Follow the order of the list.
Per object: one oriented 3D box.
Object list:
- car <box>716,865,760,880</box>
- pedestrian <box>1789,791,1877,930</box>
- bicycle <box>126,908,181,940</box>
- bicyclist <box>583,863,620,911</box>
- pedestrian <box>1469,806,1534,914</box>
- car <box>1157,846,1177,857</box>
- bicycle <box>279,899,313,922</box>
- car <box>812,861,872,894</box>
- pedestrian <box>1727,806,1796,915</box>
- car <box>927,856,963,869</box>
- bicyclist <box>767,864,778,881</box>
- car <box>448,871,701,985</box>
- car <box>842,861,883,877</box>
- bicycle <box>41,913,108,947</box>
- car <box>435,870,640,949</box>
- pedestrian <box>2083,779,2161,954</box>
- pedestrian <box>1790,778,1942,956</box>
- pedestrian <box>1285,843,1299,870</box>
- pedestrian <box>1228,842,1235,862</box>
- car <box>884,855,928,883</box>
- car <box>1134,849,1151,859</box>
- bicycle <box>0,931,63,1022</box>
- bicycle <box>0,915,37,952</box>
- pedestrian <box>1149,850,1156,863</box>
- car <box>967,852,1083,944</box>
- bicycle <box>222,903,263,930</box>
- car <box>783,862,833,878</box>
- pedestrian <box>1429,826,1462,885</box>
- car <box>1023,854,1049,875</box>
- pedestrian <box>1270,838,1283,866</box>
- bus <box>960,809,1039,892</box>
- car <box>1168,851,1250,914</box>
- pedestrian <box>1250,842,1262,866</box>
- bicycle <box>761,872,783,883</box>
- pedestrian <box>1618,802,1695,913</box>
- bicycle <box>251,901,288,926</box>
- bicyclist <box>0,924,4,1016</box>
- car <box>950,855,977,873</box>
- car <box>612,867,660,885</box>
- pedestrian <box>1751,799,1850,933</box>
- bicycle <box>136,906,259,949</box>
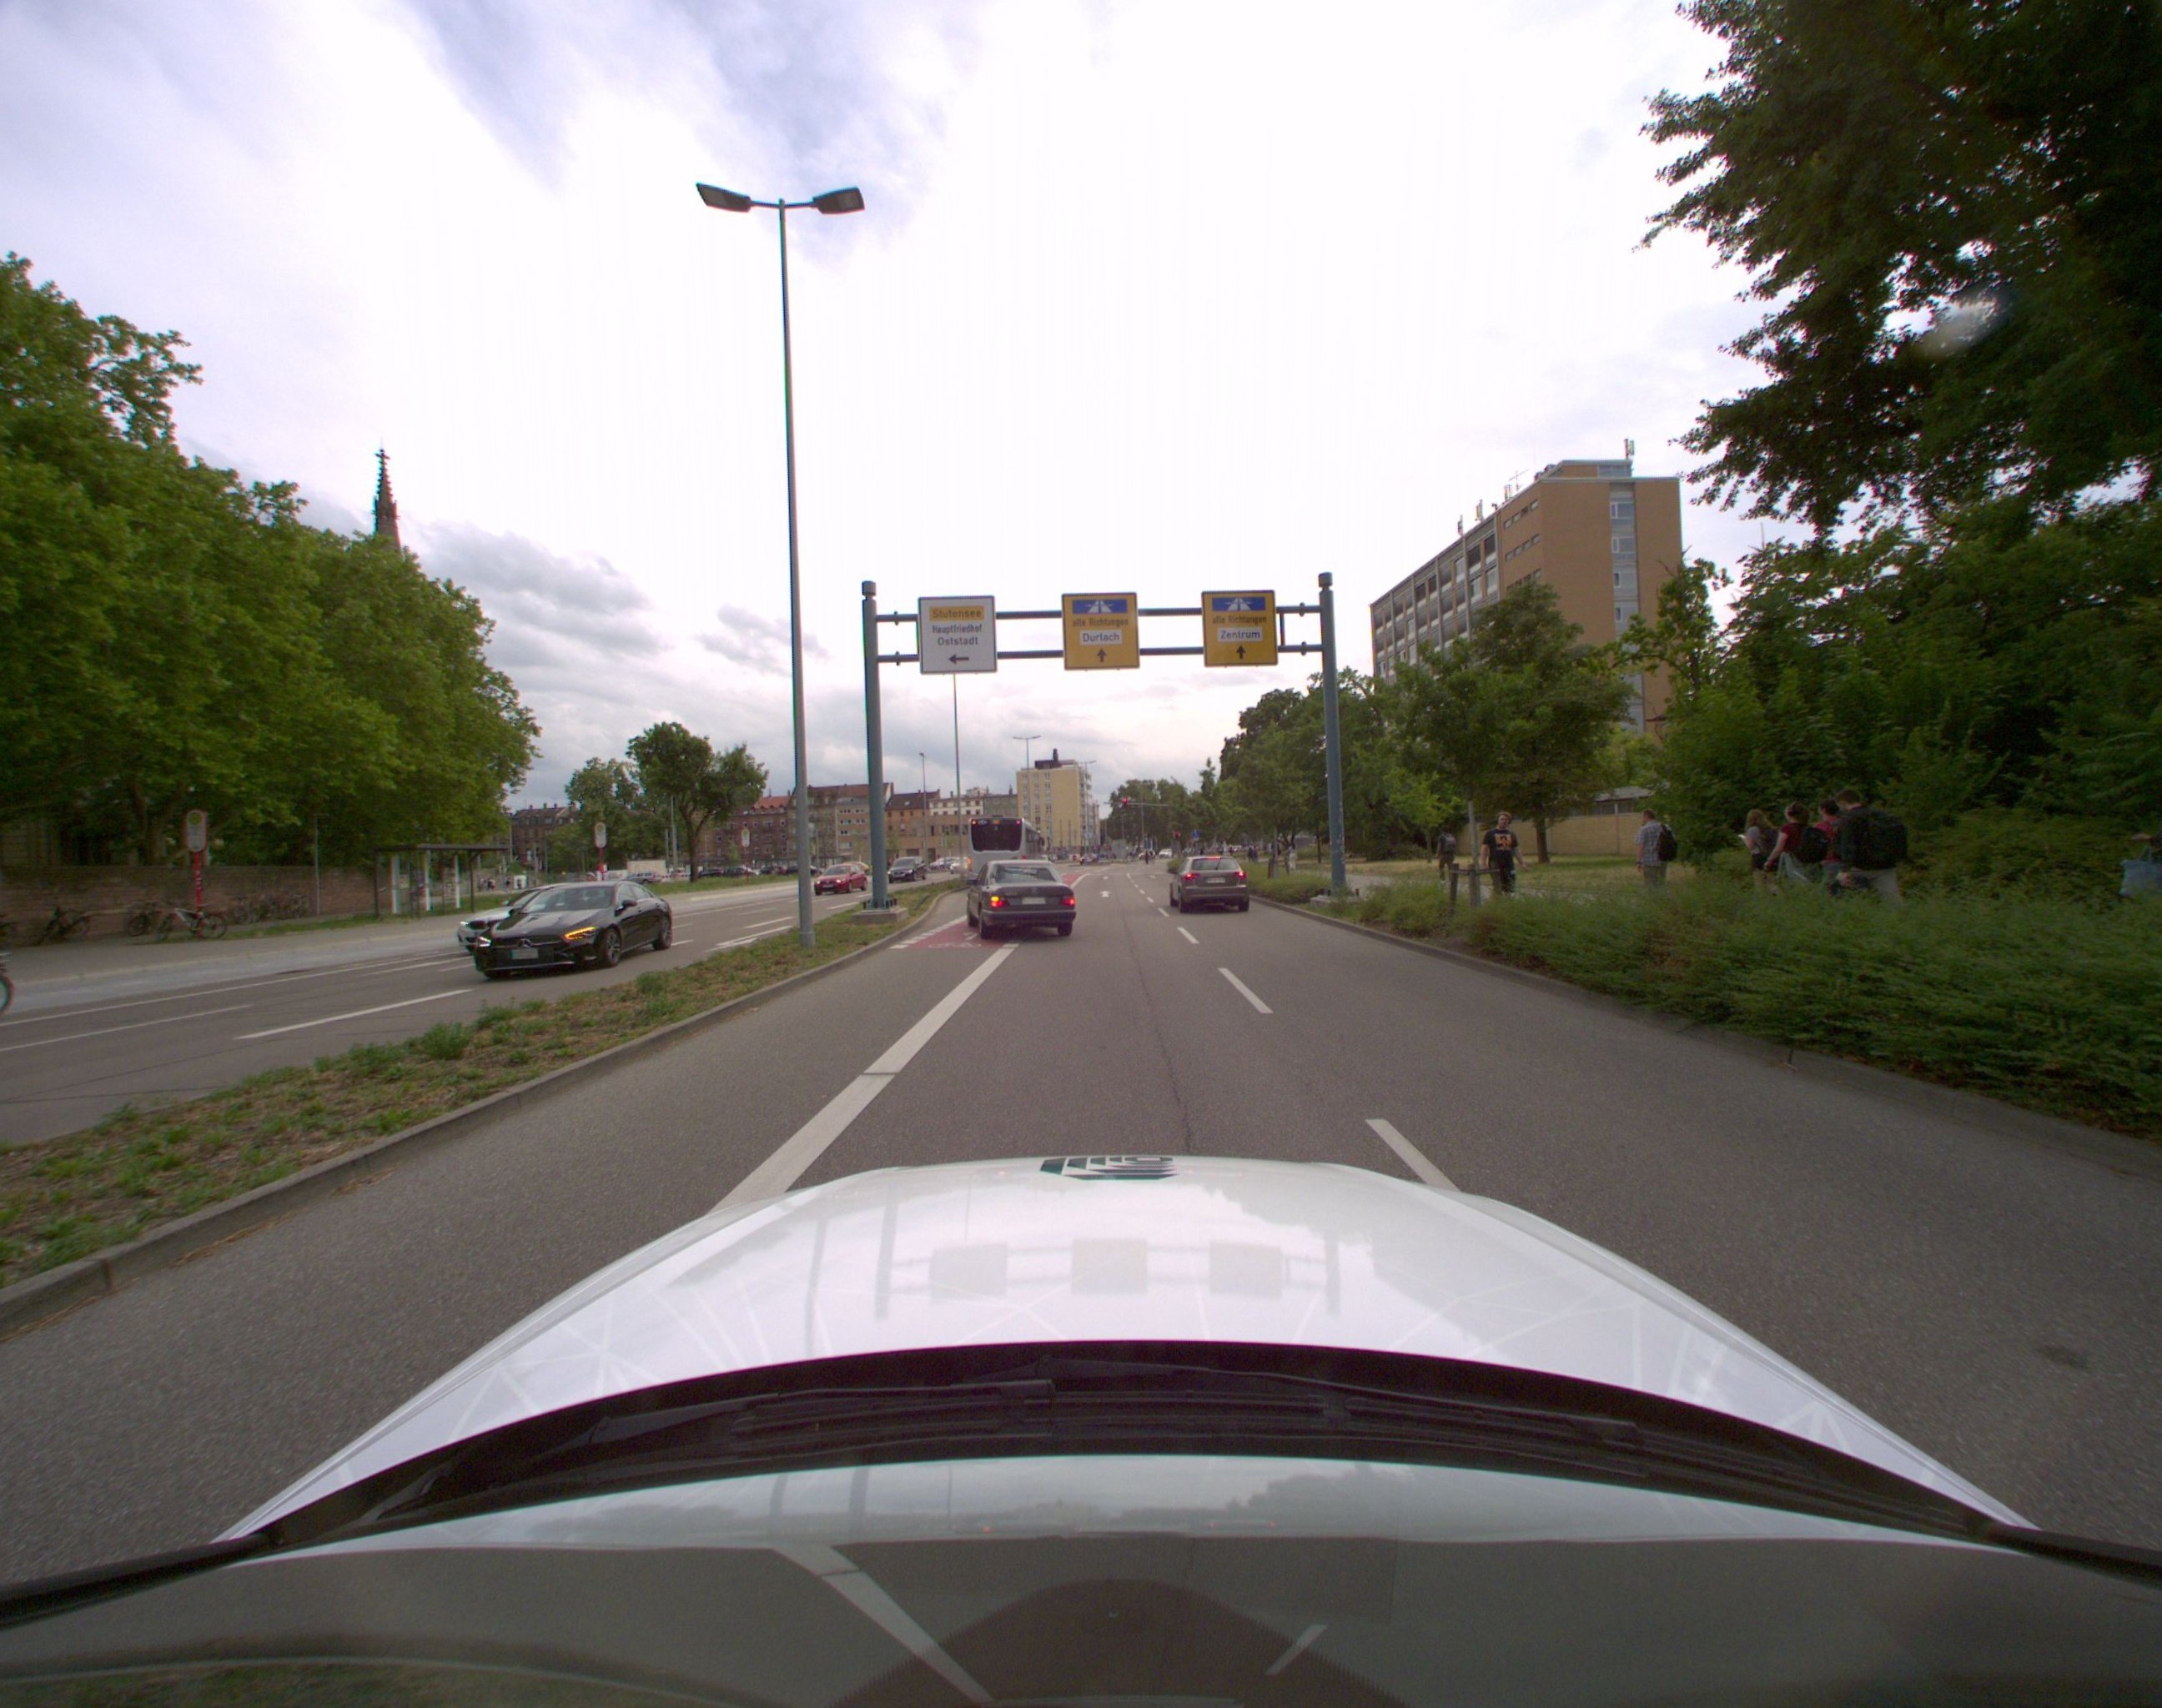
[{"bbox_3d":[-35.115,1.913,83.372,3.756,1.394,1.582,-1,0,-4],"label":"car"},{"bbox_3d":[9.921,0.079,10.770,0.482,1.763,0.664,-3,0,1],"label":"pedestrian"},{"bbox_3d":[-30.455,2.273,26.772,0.483,0.907,1.609,-3,0,-22],"label":"bicycle"},{"bbox_3d":[-14.916,1.008,25.335,0.578,1.419,0.811,-2,0,2],"label":"bicyclist"},{"bbox_3d":[7.420,0.103,14.363,0.925,1.830,0.892,-3,0,28],"label":"pedestrian"},{"bbox_3d":[17.253,-0.491,163.033,2.561,2.109,5.630,-2,0,21],"label":"car"},{"bbox_3d":[-33.753,2.431,35.040,0.483,0.907,1.608,0,-1,-23],"label":"bicycle"},{"bbox_3d":[-12.164,1.144,41.729,1.796,1.489,4.288,-2,0,0],"label":"car"},{"bbox_3d":[10.542,0.092,12.636,0.466,1.633,0.653,-3,0,1],"label":"pedestrian"},{"bbox_3d":[-15.410,0.962,92.222,3.699,1.394,1.568,-1,0,-34],"label":"car"},{"bbox_3d":[-30.650,1.795,80.892,0.785,1.643,0.571,-3,0,-4],"label":"bicyclist"},{"bbox_3d":[-8.519,1.143,14.257,1.798,1.489,4.400,-2,0,-3],"label":"car"},{"bbox_3d":[-22.611,1.572,84.318,3.849,1.517,1.658,-1,0,-4],"label":"car"},{"bbox_3d":[-29.270,2.196,23.710,0.442,0.878,1.610,0,-1,-20],"label":"bicycle"},{"bbox_3d":[-12.785,1.220,19.565,1.795,1.489,4.418,-2,0,2],"label":"car"},{"bbox_3d":[10.040,0.098,7.487,0.633,1.583,0.785,-3,0,1],"label":"pedestrian"},{"bbox_3d":[8.585,0.132,8.954,0.690,1.821,0.954,-3,0,1],"label":"pedestrian"},{"bbox_3d":[11.719,0.113,45.238,0.652,1.470,0.564,-3,0,18],"label":"pedestrian"},{"bbox_3d":[15.500,-0.222,83.848,0.612,2.013,0.597,-2,0,0],"label":"pedestrian"},{"bbox_3d":[-11.624,0.978,54.315,1.795,1.665,4.301,-4,0,1],"label":"car"},{"bbox_3d":[10.738,-0.010,142.165,1.978,1.703,4.018,-2,0,17],"label":"car"},{"bbox_3d":[-15.620,1.774,11.158,0.615,1.217,2.048,-2,0,6],"label":"bicycle"},{"bbox_3d":[-28.496,2.109,21.443,0.442,0.878,1.610,0,-1,-20],"label":"bicycle"},{"bbox_3d":[8.852,0.335,100.560,0.559,1.592,0.625,-1,-2,-38],"label":"pedestrian"},{"bbox_3d":[-1.243,0.754,16.062,1.762,1.489,4.155,-2,0,-11],"label":"car"},{"bbox_3d":[-32.102,2.382,31.209,0.483,0.907,1.608,0,-1,-23],"label":"bicycle"},{"bbox_3d":[-28.096,1.665,83.898,4.660,1.475,1.658,-1,0,-4],"label":"car"},{"bbox_3d":[10.851,0.045,24.278,0.585,1.682,0.748,-3,0,1],"label":"pedestrian"},{"bbox_3d":[-3.123,0.706,57.338,1.650,1.396,3.858,-2,0,-1],"label":"car"},{"bbox_3d":[12.199,-0.121,50.778,0.641,1.713,0.564,-3,0,16],"label":"pedestrian"},{"bbox_3d":[-3.654,-0.170,38.500,2.823,3.390,8.180,-2,0,-1],"label":"bus"},{"bbox_3d":[3.336,0.693,21.781,1.717,1.457,3.738,-2,0,3],"label":"car"},{"bbox_3d":[12.951,-0.013,60.208,0.796,1.713,0.768,-3,0,14],"label":"pedestrian"},{"bbox_3d":[-30.677,2.362,80.872,1.960,0.982,0.630,-3,0,-4],"label":"bicycle"},{"bbox_3d":[9.439,0.057,13.383,0.617,1.735,0.815,-3,0,1],"label":"pedestrian"},{"bbox_3d":[-33.044,2.409,33.176,0.483,0.907,1.608,0,-1,-23],"label":"bicycle"},{"bbox_3d":[-15.620,1.413,11.140,0.615,1.782,0.812,-2,0,6],"label":"bicyclist"},{"bbox_3d":[-10.239,0.846,71.280,1.664,1.389,3.924,-3,0,2],"label":"car"},{"bbox_3d":[-48.031,2.383,87.973,4.147,1.649,1.644,-3,0,-5],"label":"car"},{"bbox_3d":[9.322,0.147,10.576,0.553,1.655,0.754,-3,0,1],"label":"pedestrian"},{"bbox_3d":[-23.535,1.932,21.774,0.467,0.918,2.345,-2,0,9],"label":"bicycle"}]
